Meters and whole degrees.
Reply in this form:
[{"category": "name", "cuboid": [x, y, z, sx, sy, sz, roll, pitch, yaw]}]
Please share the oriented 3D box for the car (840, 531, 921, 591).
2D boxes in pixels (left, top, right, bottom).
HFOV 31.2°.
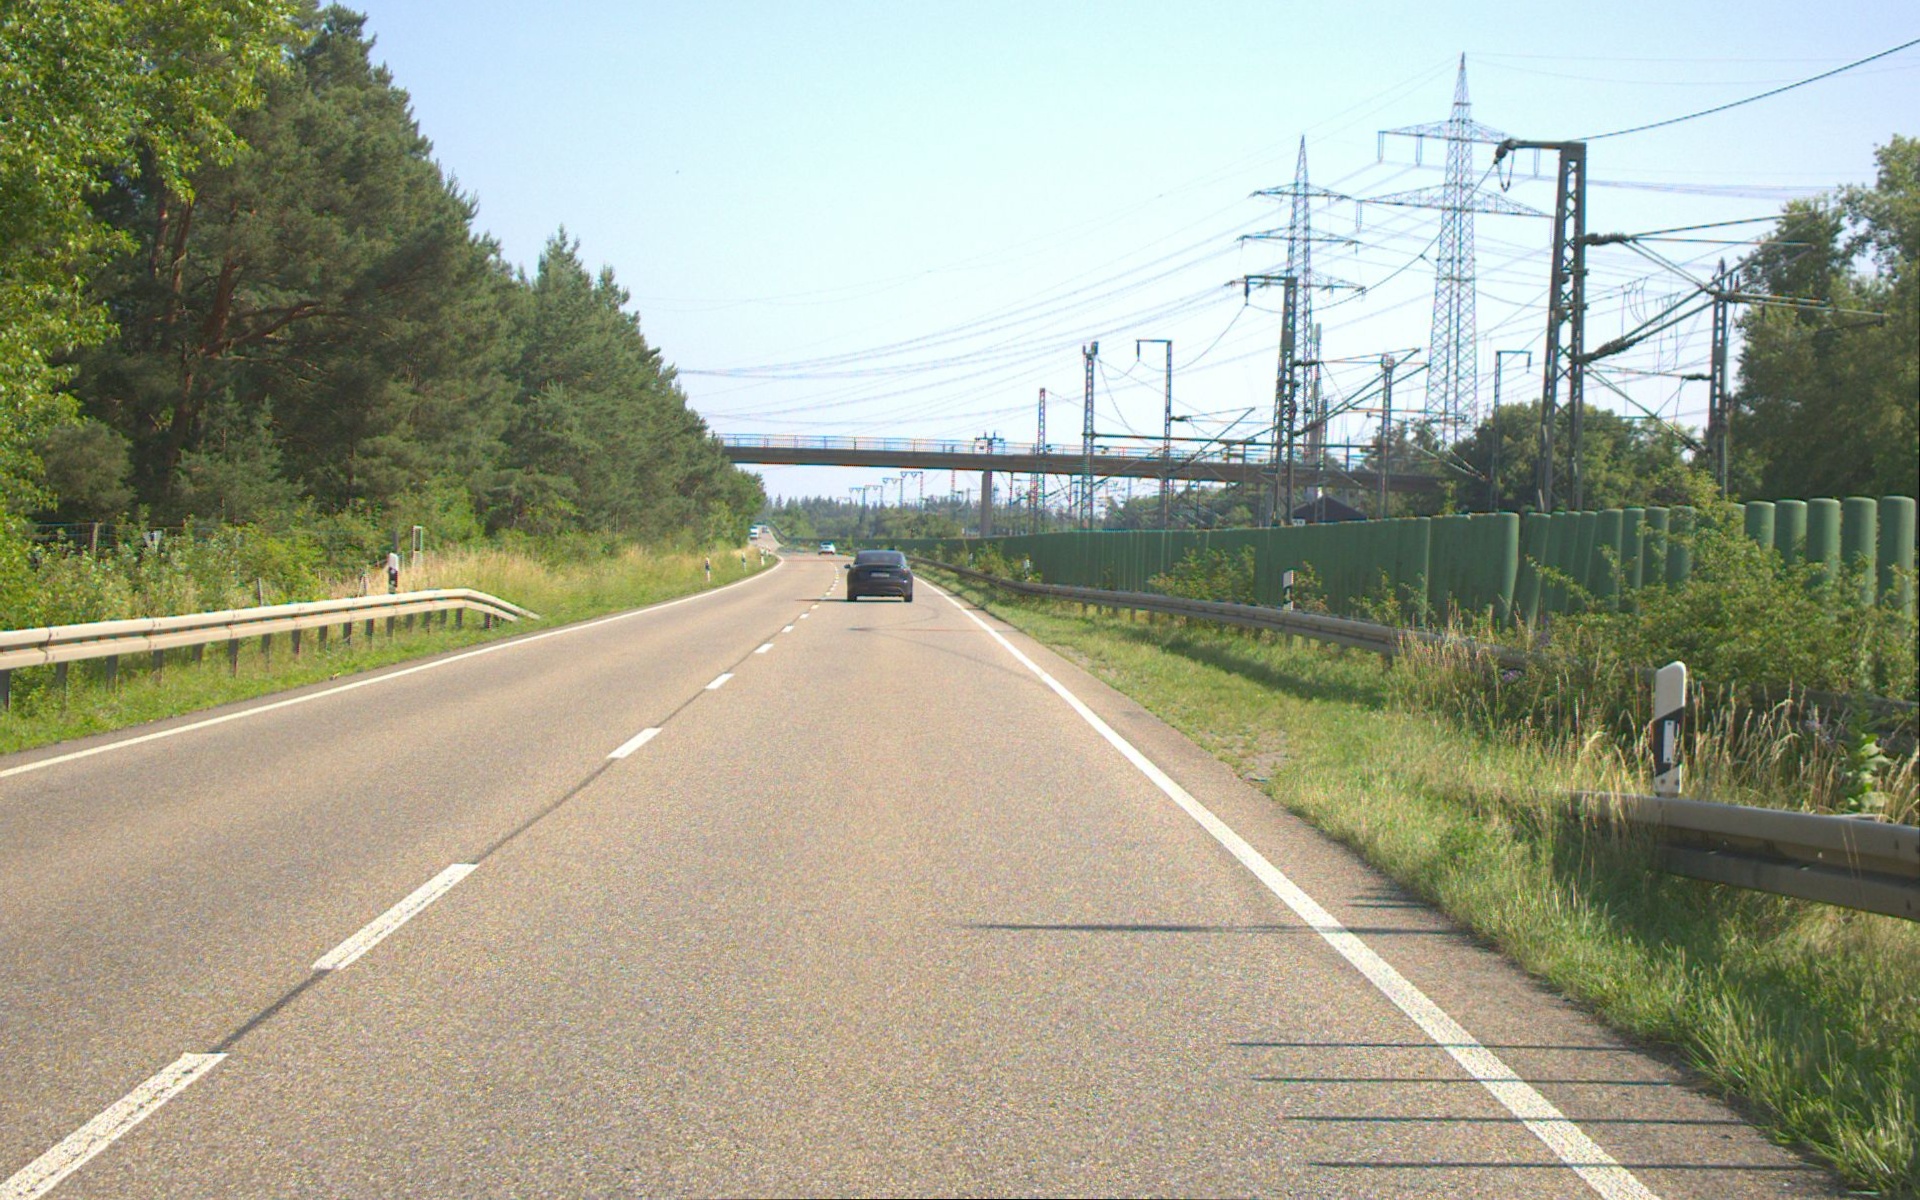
[{"category": "car", "cuboid": [-2.264, -1.111, 96.930, 1.858, 1.636, 4.001, 0, 1, -7]}]
